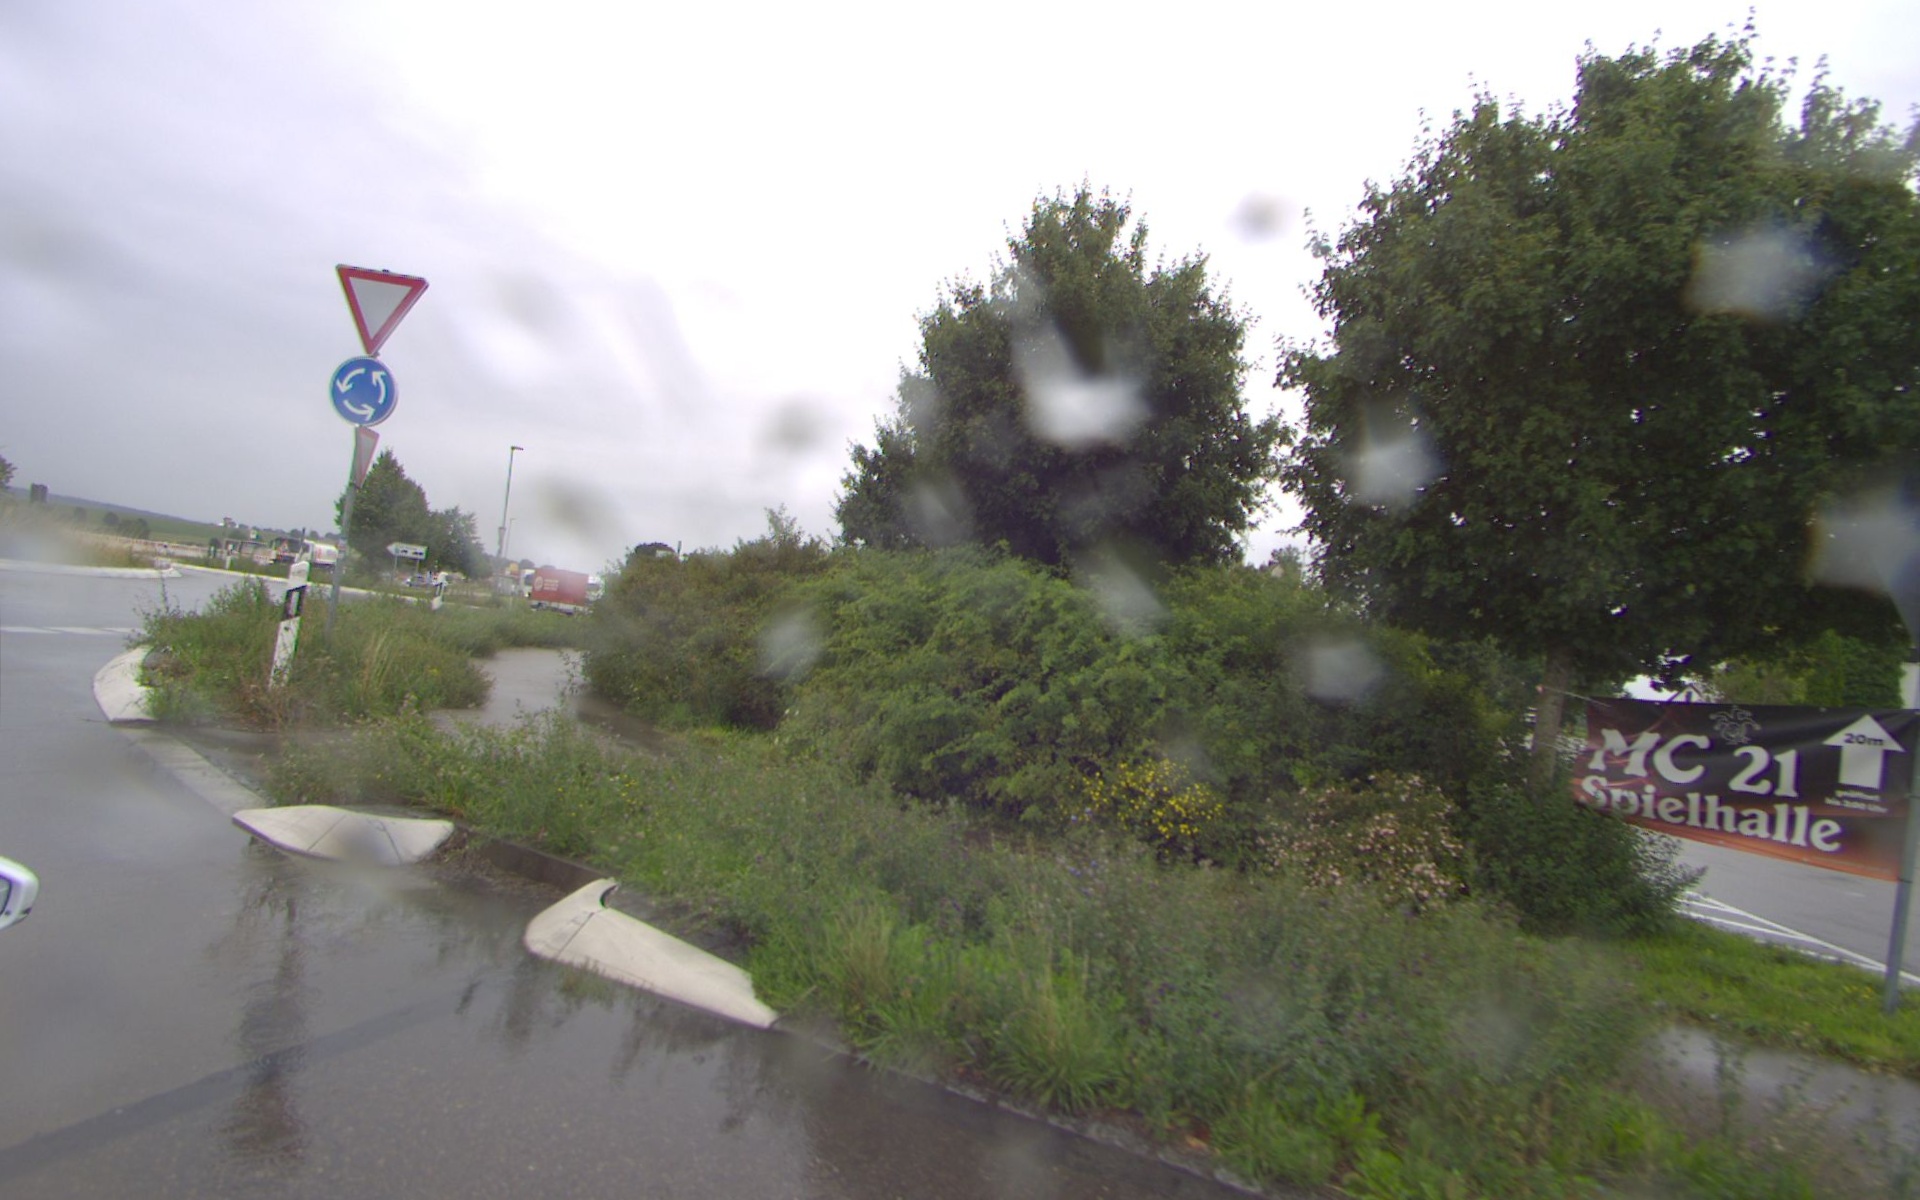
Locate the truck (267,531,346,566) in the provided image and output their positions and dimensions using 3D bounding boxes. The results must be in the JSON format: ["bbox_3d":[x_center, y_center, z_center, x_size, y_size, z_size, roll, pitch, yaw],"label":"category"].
[{"bbox_3d":[-56.164,-4.333,86.725,2.477,2.249,8.399,6,-1,-10],"label":"truck"}]

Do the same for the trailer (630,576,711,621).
[{"bbox_3d":[-32.719,-0.047,114.449,3.221,3.992,13.154,6,-2,9],"label":"trailer"}]

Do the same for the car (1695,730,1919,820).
[{"bbox_3d":[21.886,4.473,26.083,4.110,1.515,1.719,6,-2,19],"label":"car"}]

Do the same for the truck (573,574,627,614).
[{"bbox_3d":[-49.967,-0.703,139.977,3.294,4.790,11.201,6,-2,-2],"label":"truck"}]

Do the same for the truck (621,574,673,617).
[{"bbox_3d":[-33.683,-0.464,108.399,3.221,3.993,4.467,6,-2,9],"label":"truck"}]

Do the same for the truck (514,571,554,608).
[{"bbox_3d":[-56.544,-1.462,133.439,2.882,4.339,8.735,7,-2,-34],"label":"truck"}]
